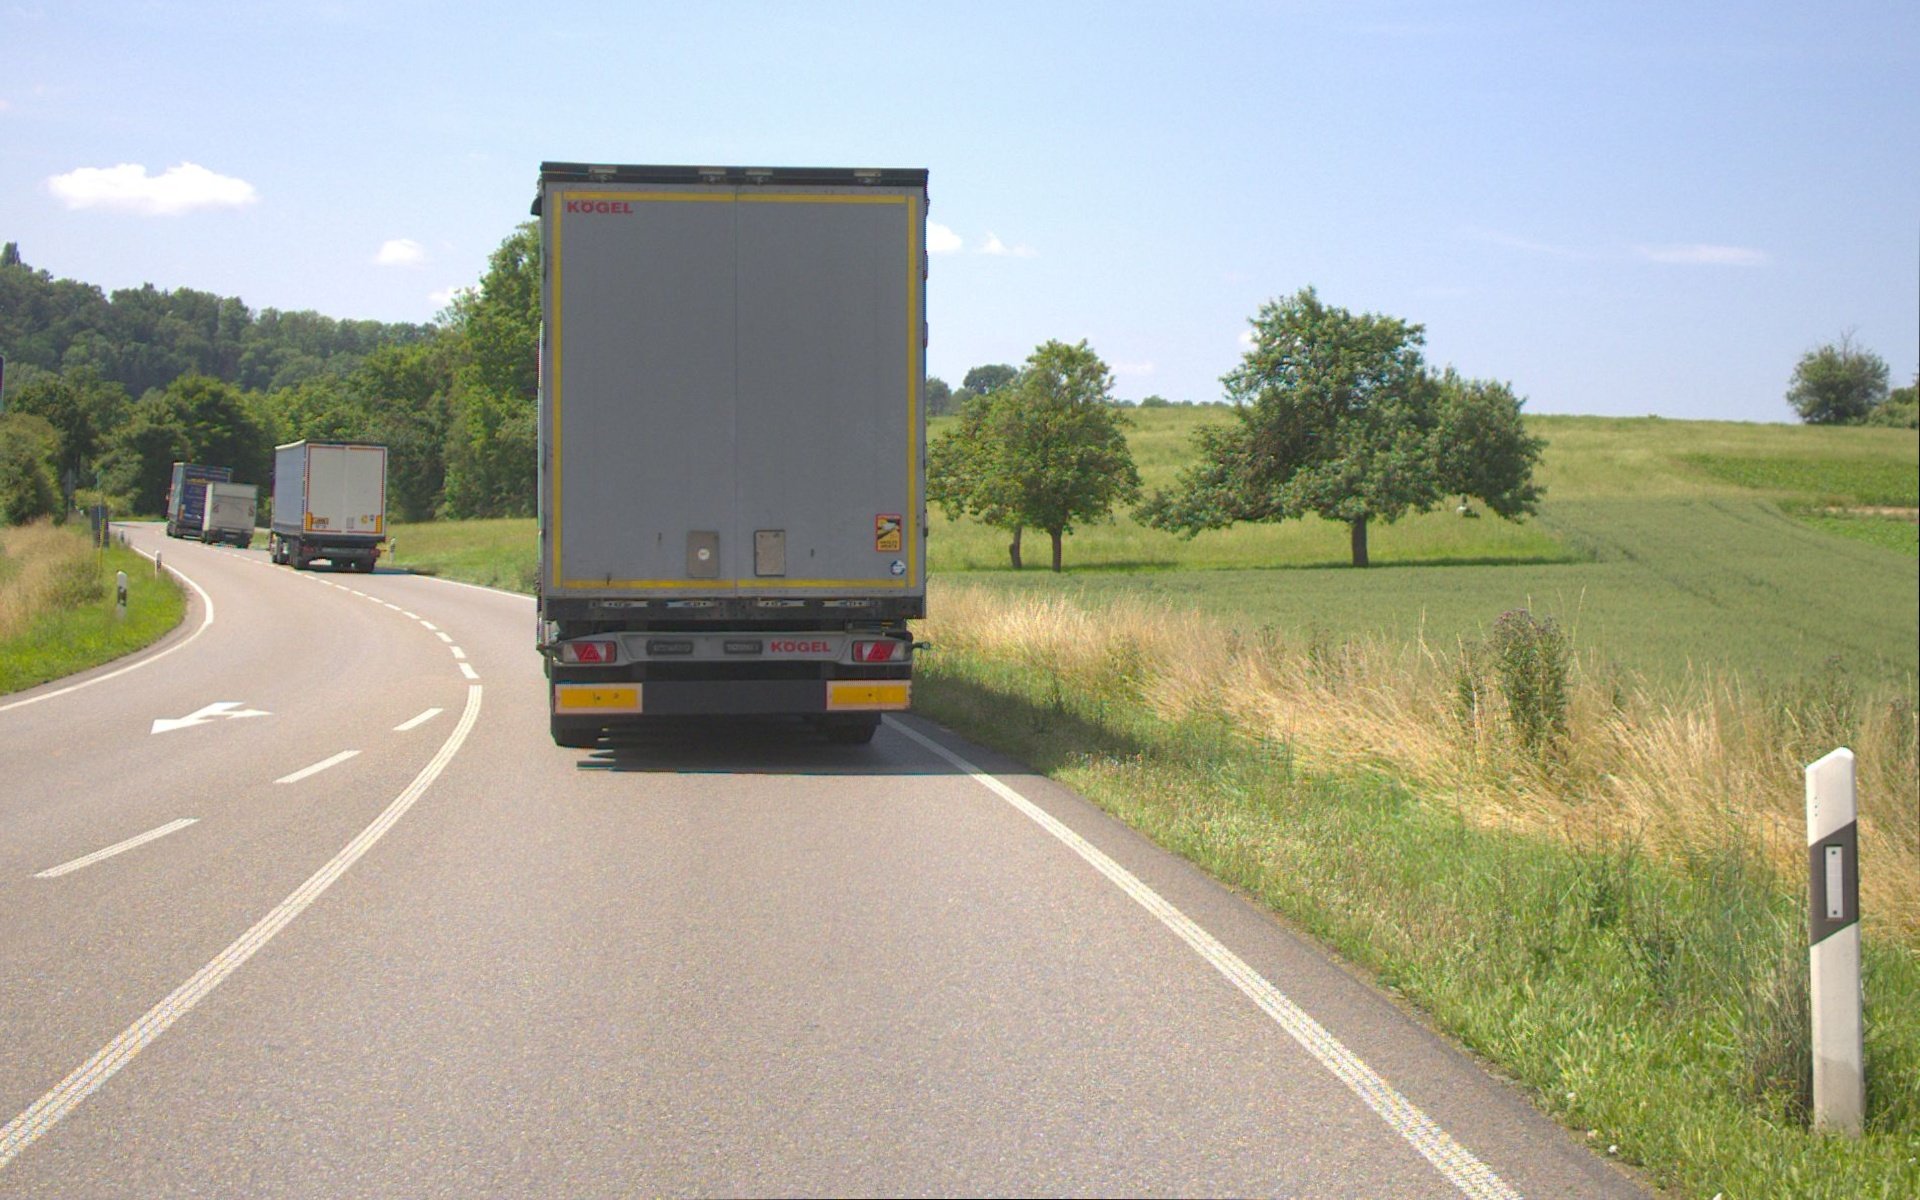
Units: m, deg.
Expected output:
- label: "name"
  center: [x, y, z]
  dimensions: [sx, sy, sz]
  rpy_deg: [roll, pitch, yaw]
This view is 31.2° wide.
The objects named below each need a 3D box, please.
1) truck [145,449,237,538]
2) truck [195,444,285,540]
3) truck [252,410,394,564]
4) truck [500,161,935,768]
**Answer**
- label: "truck"
  center: [-41.962, -5.707, 187.259]
  dimensions: [3.528, 4.226, 13.409]
  rpy_deg: [3, -1, -18]
- label: "truck"
  center: [-35.628, -5.259, 169.725]
  dimensions: [3.636, 4.115, 13.101]
  rpy_deg: [3, -1, -14]
- label: "truck"
  center: [-21.103, -3.624, 113.062]
  dimensions: [2.960, 4.568, 16.321]
  rpy_deg: [2, 1, -16]
- label: "truck"
  center: [-2.215, -0.942, 27.238]
  dimensions: [2.807, 3.932, 9.593]
  rpy_deg: [0, 1, -8]
